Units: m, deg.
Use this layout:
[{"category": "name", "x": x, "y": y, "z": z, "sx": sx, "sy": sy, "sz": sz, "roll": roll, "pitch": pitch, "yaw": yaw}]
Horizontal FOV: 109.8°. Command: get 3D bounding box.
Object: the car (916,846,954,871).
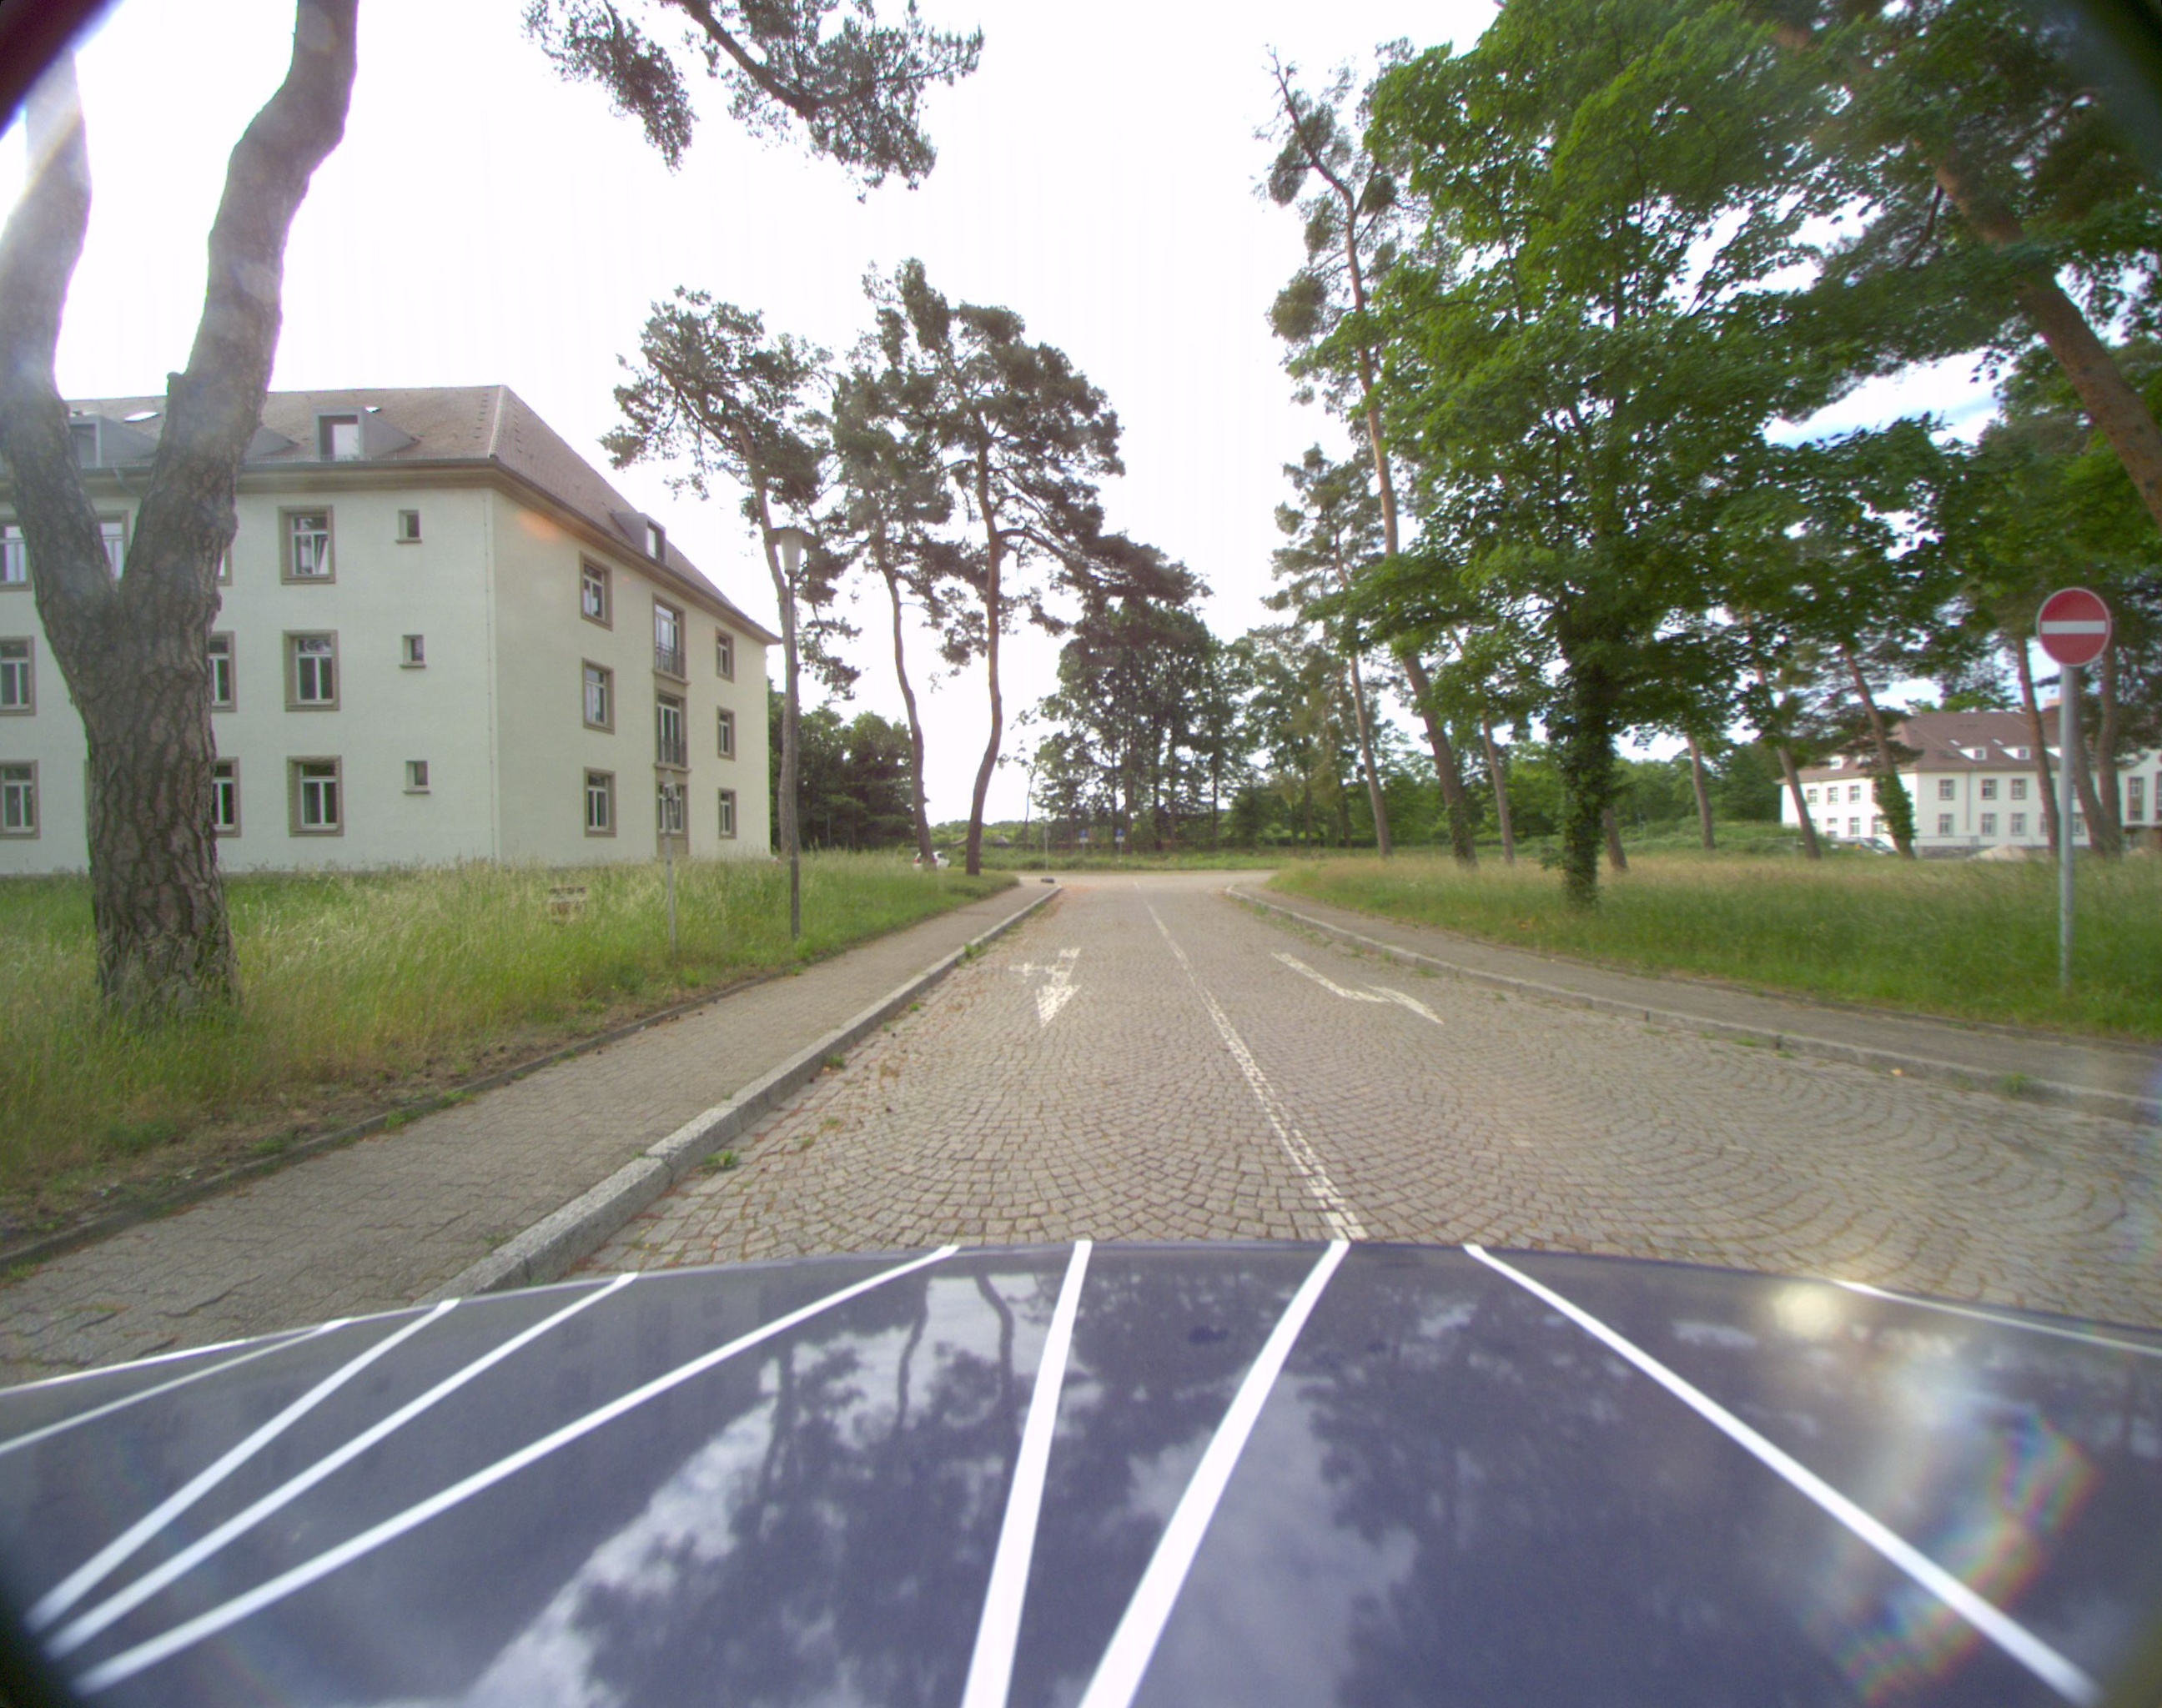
[{"category": "car", "x": -9.358, "y": 0.265, "z": 48.928, "sx": 1.640, "sy": 1.426, "sz": 3.277, "roll": -1, "pitch": 3, "yaw": 3}]
